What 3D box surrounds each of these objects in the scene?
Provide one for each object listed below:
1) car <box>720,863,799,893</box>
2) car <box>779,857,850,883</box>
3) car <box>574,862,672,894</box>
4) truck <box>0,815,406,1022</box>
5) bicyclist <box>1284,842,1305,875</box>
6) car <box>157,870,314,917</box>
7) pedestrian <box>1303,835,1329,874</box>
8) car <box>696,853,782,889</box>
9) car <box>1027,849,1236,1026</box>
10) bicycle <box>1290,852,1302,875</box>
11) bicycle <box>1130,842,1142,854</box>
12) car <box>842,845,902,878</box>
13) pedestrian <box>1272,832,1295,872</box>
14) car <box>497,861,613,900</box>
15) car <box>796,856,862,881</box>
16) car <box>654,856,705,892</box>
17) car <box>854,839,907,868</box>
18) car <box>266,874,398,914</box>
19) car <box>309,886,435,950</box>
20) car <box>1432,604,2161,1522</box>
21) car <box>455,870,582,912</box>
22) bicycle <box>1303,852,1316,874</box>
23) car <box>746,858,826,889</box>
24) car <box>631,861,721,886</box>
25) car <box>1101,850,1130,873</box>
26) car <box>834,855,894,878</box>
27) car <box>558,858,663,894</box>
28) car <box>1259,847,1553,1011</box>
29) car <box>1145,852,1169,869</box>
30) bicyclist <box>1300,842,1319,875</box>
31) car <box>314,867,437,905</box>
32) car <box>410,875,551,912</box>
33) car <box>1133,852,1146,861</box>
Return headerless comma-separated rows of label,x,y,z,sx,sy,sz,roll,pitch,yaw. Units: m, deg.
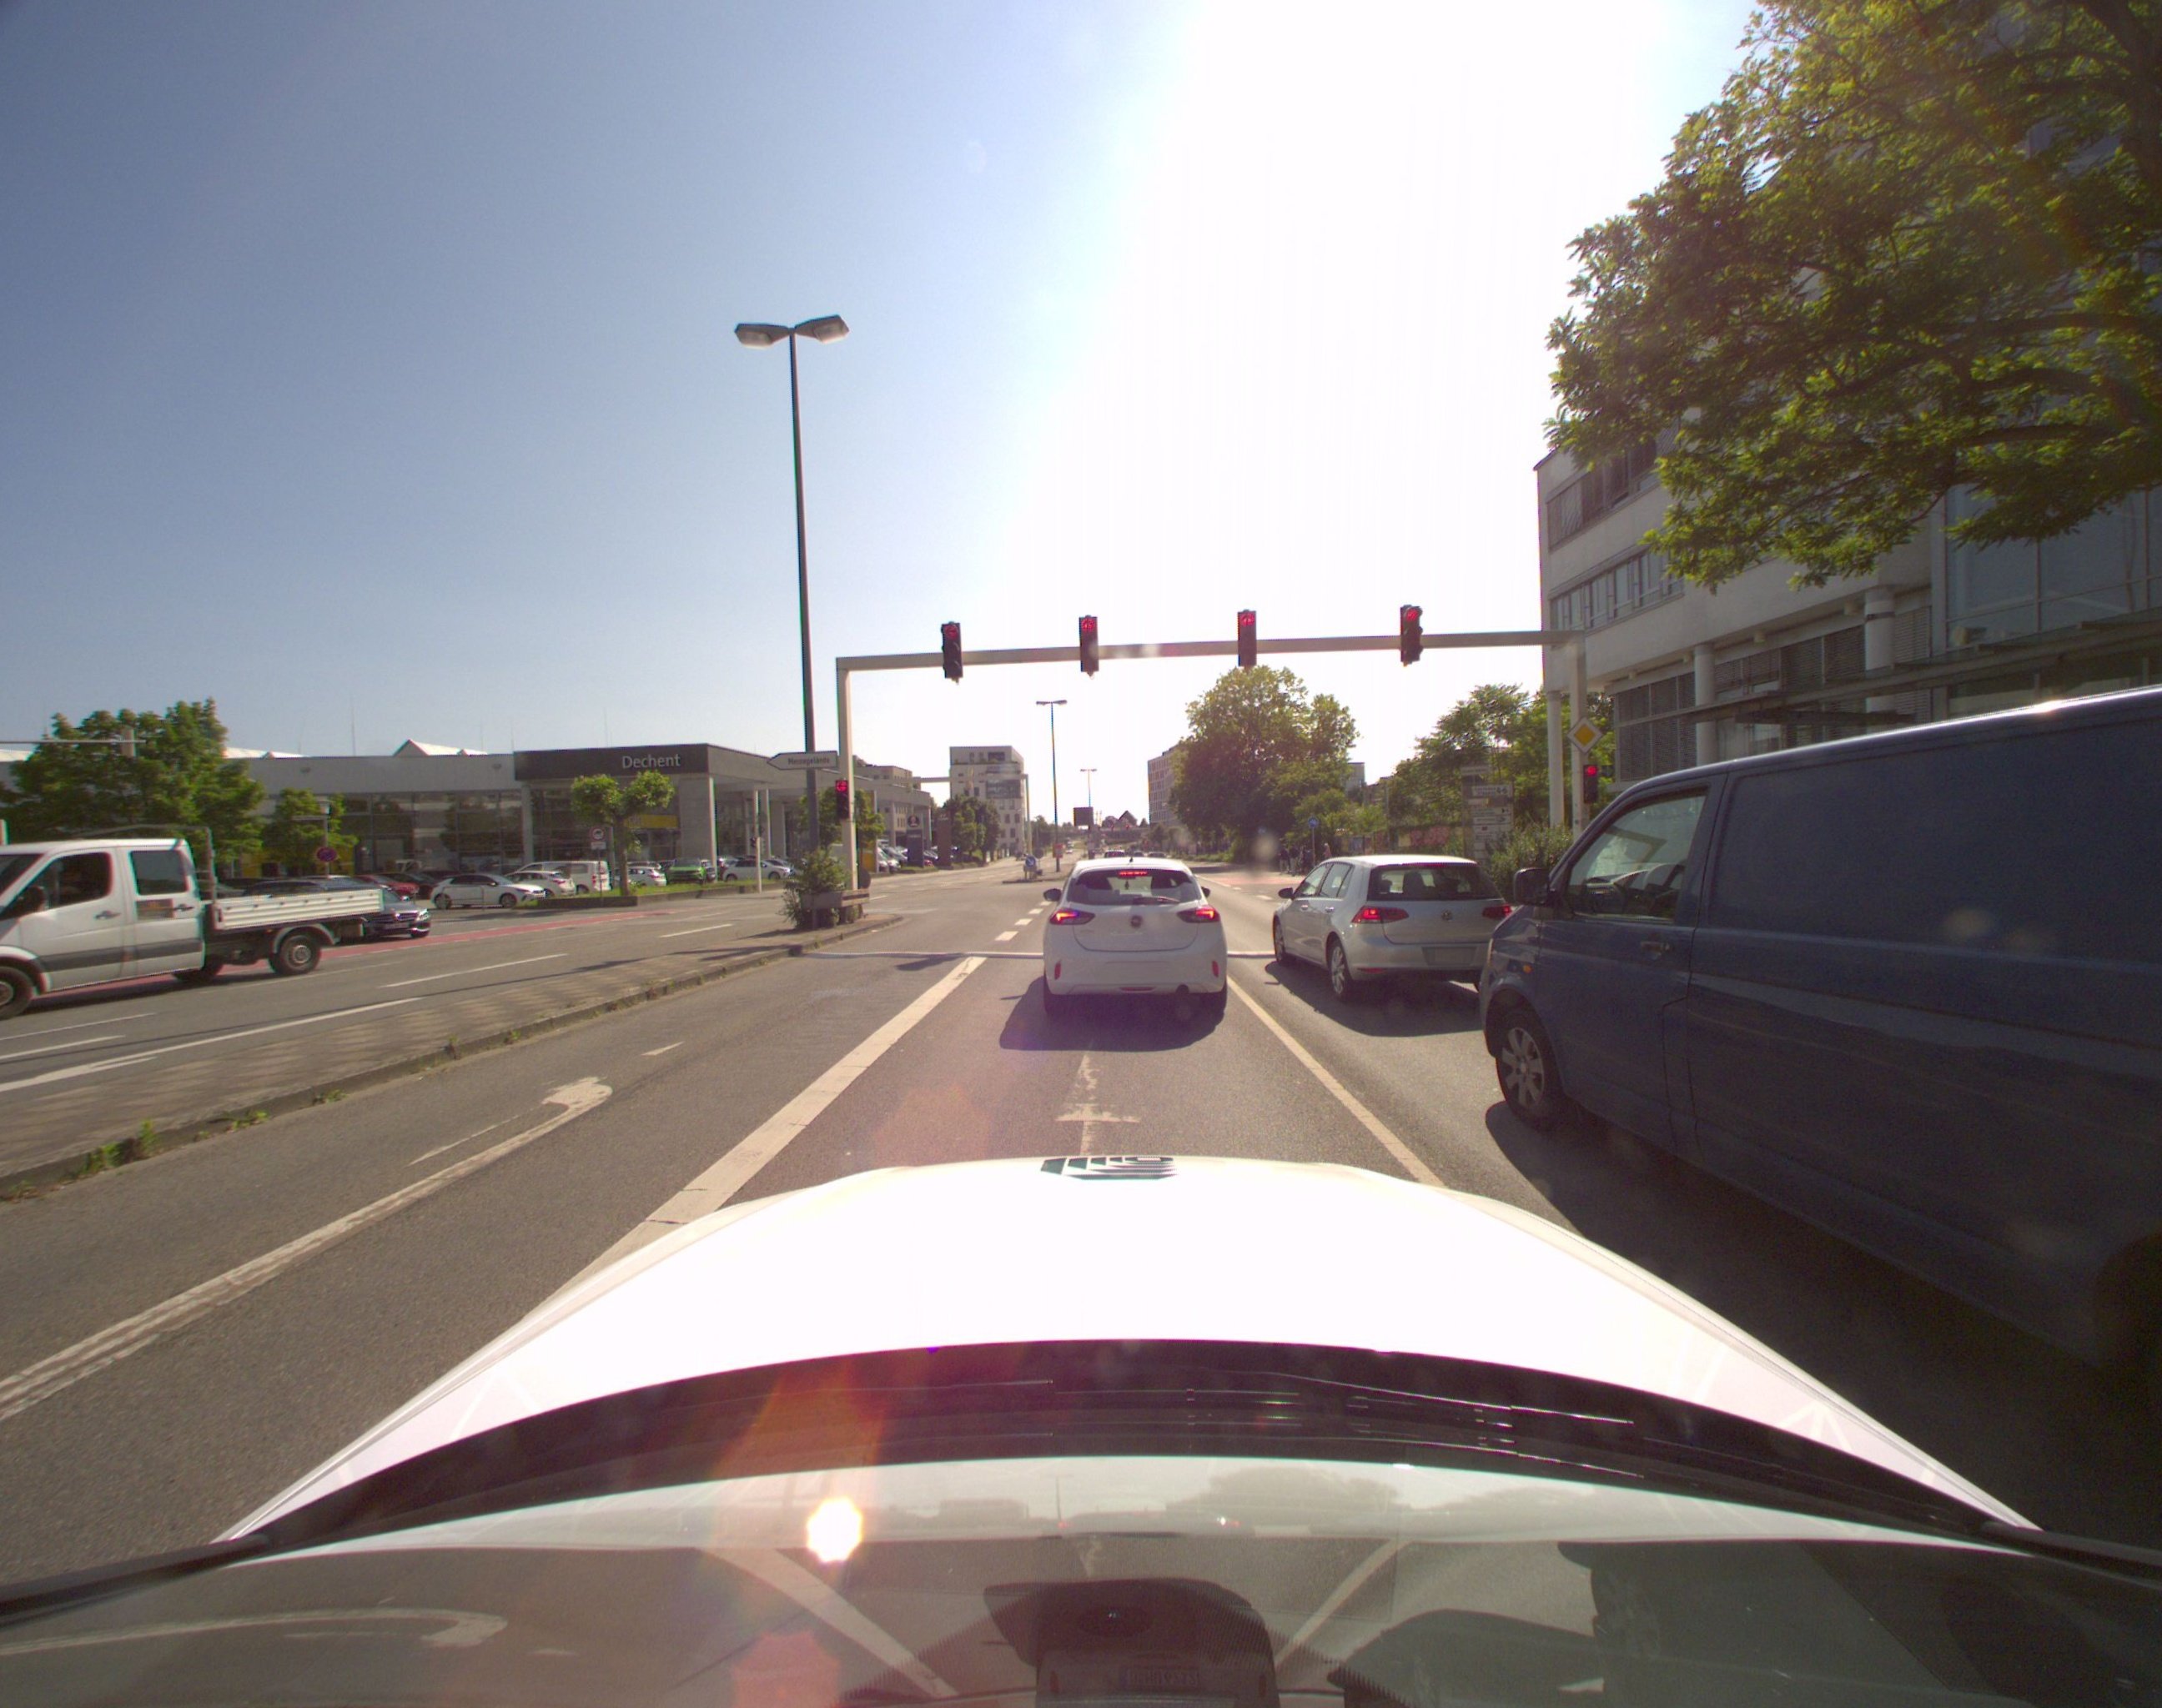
car,-19.552,1.442,49.636,3.981,1.599,1.996,-2,0,-5
car,-18.721,1.115,57.348,4.343,1.696,1.999,-2,0,-1
car,-25.930,1.317,46.247,4.351,1.590,1.996,-2,0,-6
truck,-14.301,0.818,12.352,2.346,2.545,6.445,-2,0,5
bicyclist,11.602,0.236,44.209,0.875,1.772,0.864,-2,0,2
car,-35.898,1.652,34.696,4.348,1.696,1.997,-2,0,-4
pedestrian,12.637,0.018,43.816,1.023,2.013,1.039,-2,0,1
car,-19.034,0.916,45.417,3.859,1.837,1.999,-2,0,-1
car,0.499,0.712,9.012,1.772,1.494,4.002,-1,0,2
bicycle,11.657,0.501,44.201,0.371,1.216,1.154,0,0,2
bicycle,10.481,-1.149,155.727,1.986,2.157,4.002,-2,0,2
car,-18.169,0.638,70.991,4.468,2.684,2.135,-2,0,10
pedestrian,11.827,-0.107,47.515,1.023,2.238,1.039,-2,0,1
car,-26.298,1.287,40.837,4.352,1.696,1.995,-2,0,-7
car,-19.388,1.101,62.790,4.344,1.696,1.999,-2,0,-1
car,-21.037,1.050,42.602,1.915,1.733,3.258,-2,-1,-35
car,-18.779,-0.055,76.324,4.333,2.601,2.004,-2,0,7
car,-36.427,1.925,39.712,4.348,1.696,1.997,-2,0,-4
car,-18.467,1.576,21.160,3.949,1.360,1.917,0,-1,41
car,3.312,0.425,3.025,1.986,1.948,4.893,-2,0,2
car,-25.973,1.682,37.725,4.348,1.696,1.997,-2,0,-4
bicycle,11.892,0.463,42.438,0.372,1.147,1.034,0,-1,0
car,-18.836,1.223,52.179,4.284,1.765,1.999,-2,0,-1
car,-24.466,1.180,49.337,4.351,1.268,1.995,-3,-2,-6
car,2.254,0.504,53.147,1.799,1.386,4.002,0,-2,2
car,-18.267,1.051,68.546,4.330,1.696,2.006,-2,0,9
car,-25.131,1.166,43.642,4.352,1.696,1.995,-2,0,-7
car,3.414,0.694,9.450,1.801,1.429,4.000,-2,0,0
car,6.492,0.574,70.085,1.799,1.386,4.001,0,-1,2
bicyclist,11.878,0.227,42.393,0.687,1.643,0.775,-2,0,-7
car,-36.403,1.632,42.110,4.352,1.696,1.996,-2,0,-7
car,-25.342,1.662,34.520,4.348,1.299,1.997,-2,0,-4
car,9.012,0.352,125.921,1.799,1.386,4.001,0,-1,2
